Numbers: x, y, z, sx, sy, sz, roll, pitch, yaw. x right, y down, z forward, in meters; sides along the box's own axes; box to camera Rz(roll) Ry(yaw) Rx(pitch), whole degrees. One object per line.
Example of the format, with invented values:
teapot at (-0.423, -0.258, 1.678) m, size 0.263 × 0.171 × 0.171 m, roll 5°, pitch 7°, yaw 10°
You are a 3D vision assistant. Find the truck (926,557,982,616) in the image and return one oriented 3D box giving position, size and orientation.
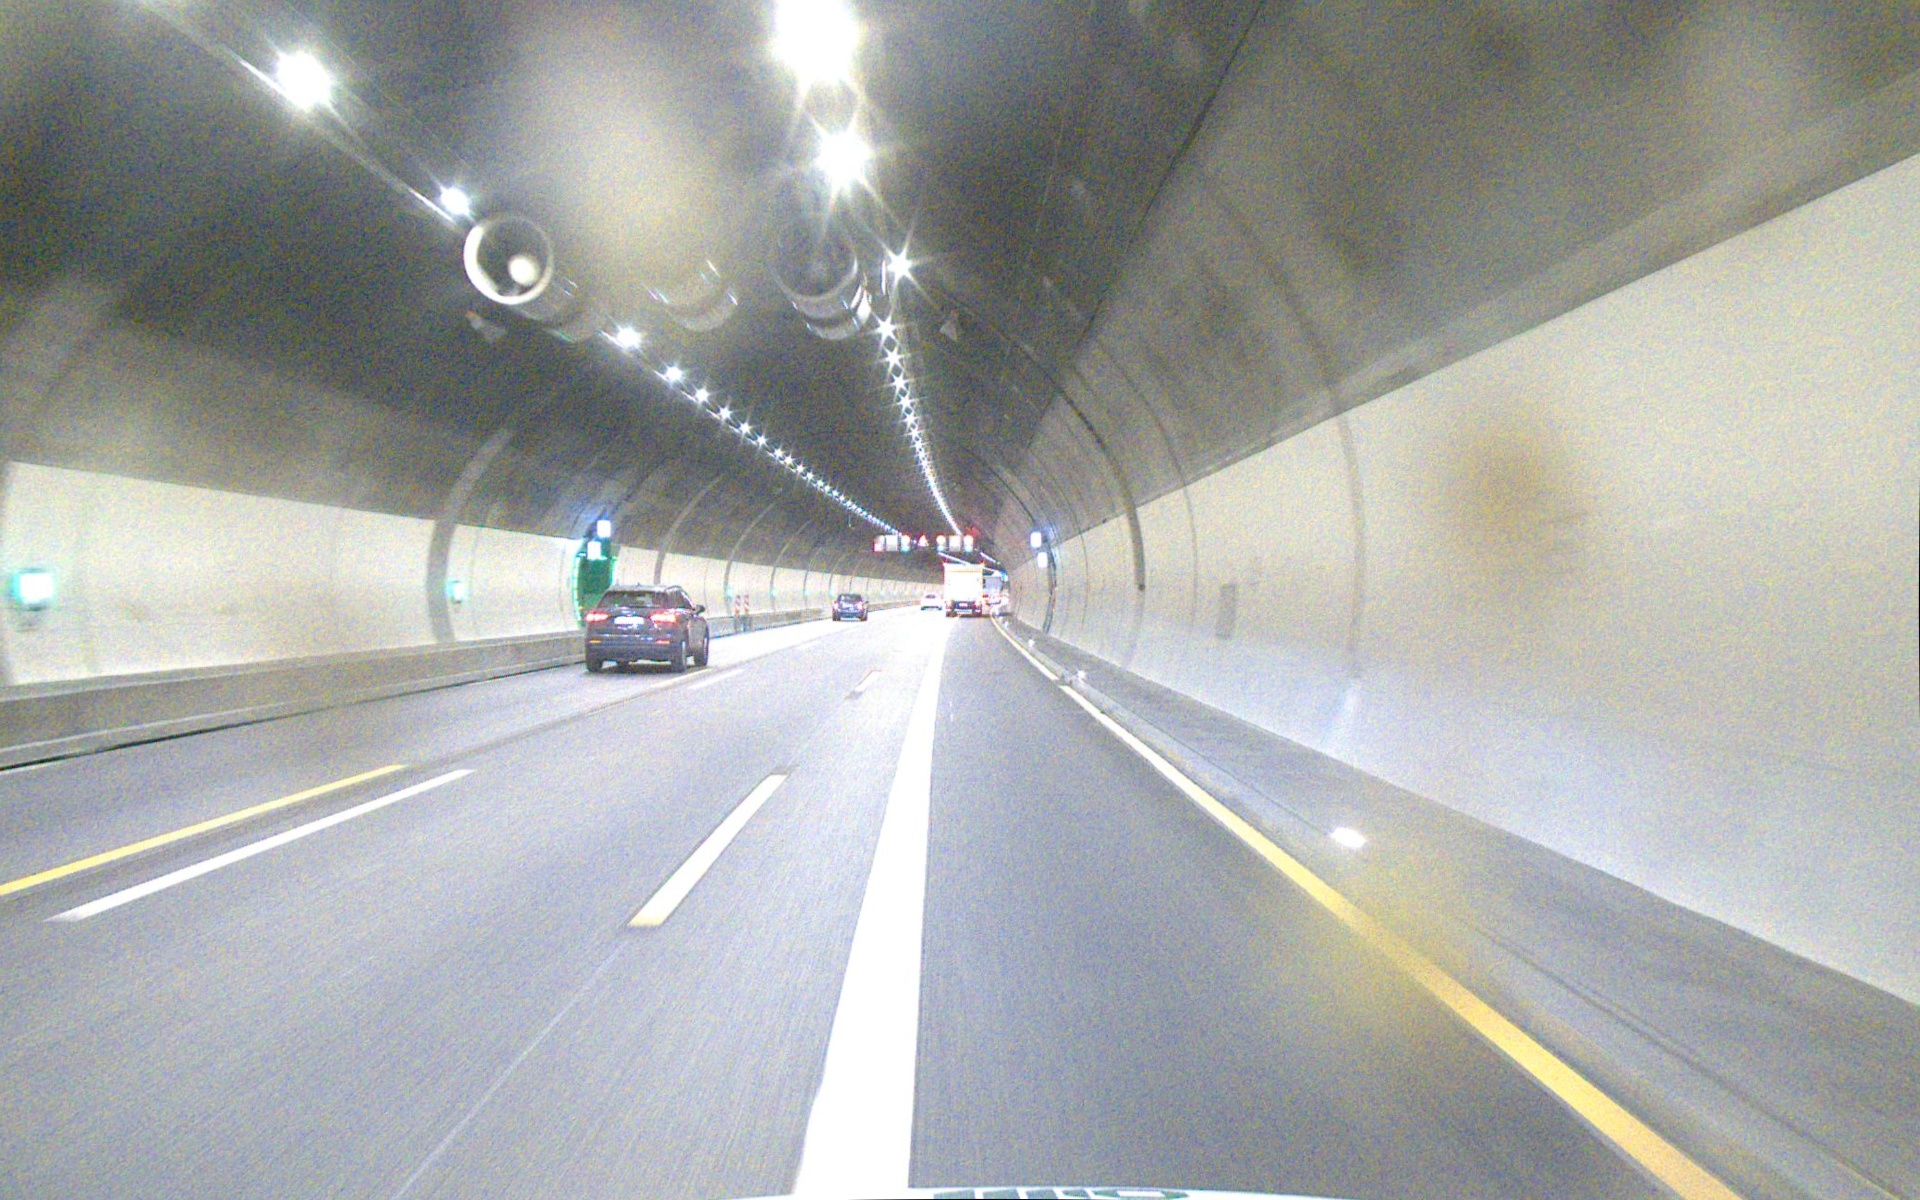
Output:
truck at (-0.517, -0.999, 112.164) m, size 3.520 × 3.713 × 10.720 m, roll -2°, pitch 1°, yaw -1°

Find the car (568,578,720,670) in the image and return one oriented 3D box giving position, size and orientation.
car at (-5.934, 0.393, 31.632) m, size 1.953 × 1.567 × 4.742 m, roll -2°, pitch 1°, yaw 0°

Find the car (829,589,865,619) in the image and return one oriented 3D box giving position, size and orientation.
car at (-5.929, 0.214, 87.258) m, size 1.655 × 1.442 × 3.922 m, roll -2°, pitch 1°, yaw -2°

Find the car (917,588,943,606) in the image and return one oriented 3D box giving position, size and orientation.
car at (-2.643, -0.250, 146.337) m, size 1.952 × 1.437 × 4.744 m, roll -2°, pitch 1°, yaw 2°
